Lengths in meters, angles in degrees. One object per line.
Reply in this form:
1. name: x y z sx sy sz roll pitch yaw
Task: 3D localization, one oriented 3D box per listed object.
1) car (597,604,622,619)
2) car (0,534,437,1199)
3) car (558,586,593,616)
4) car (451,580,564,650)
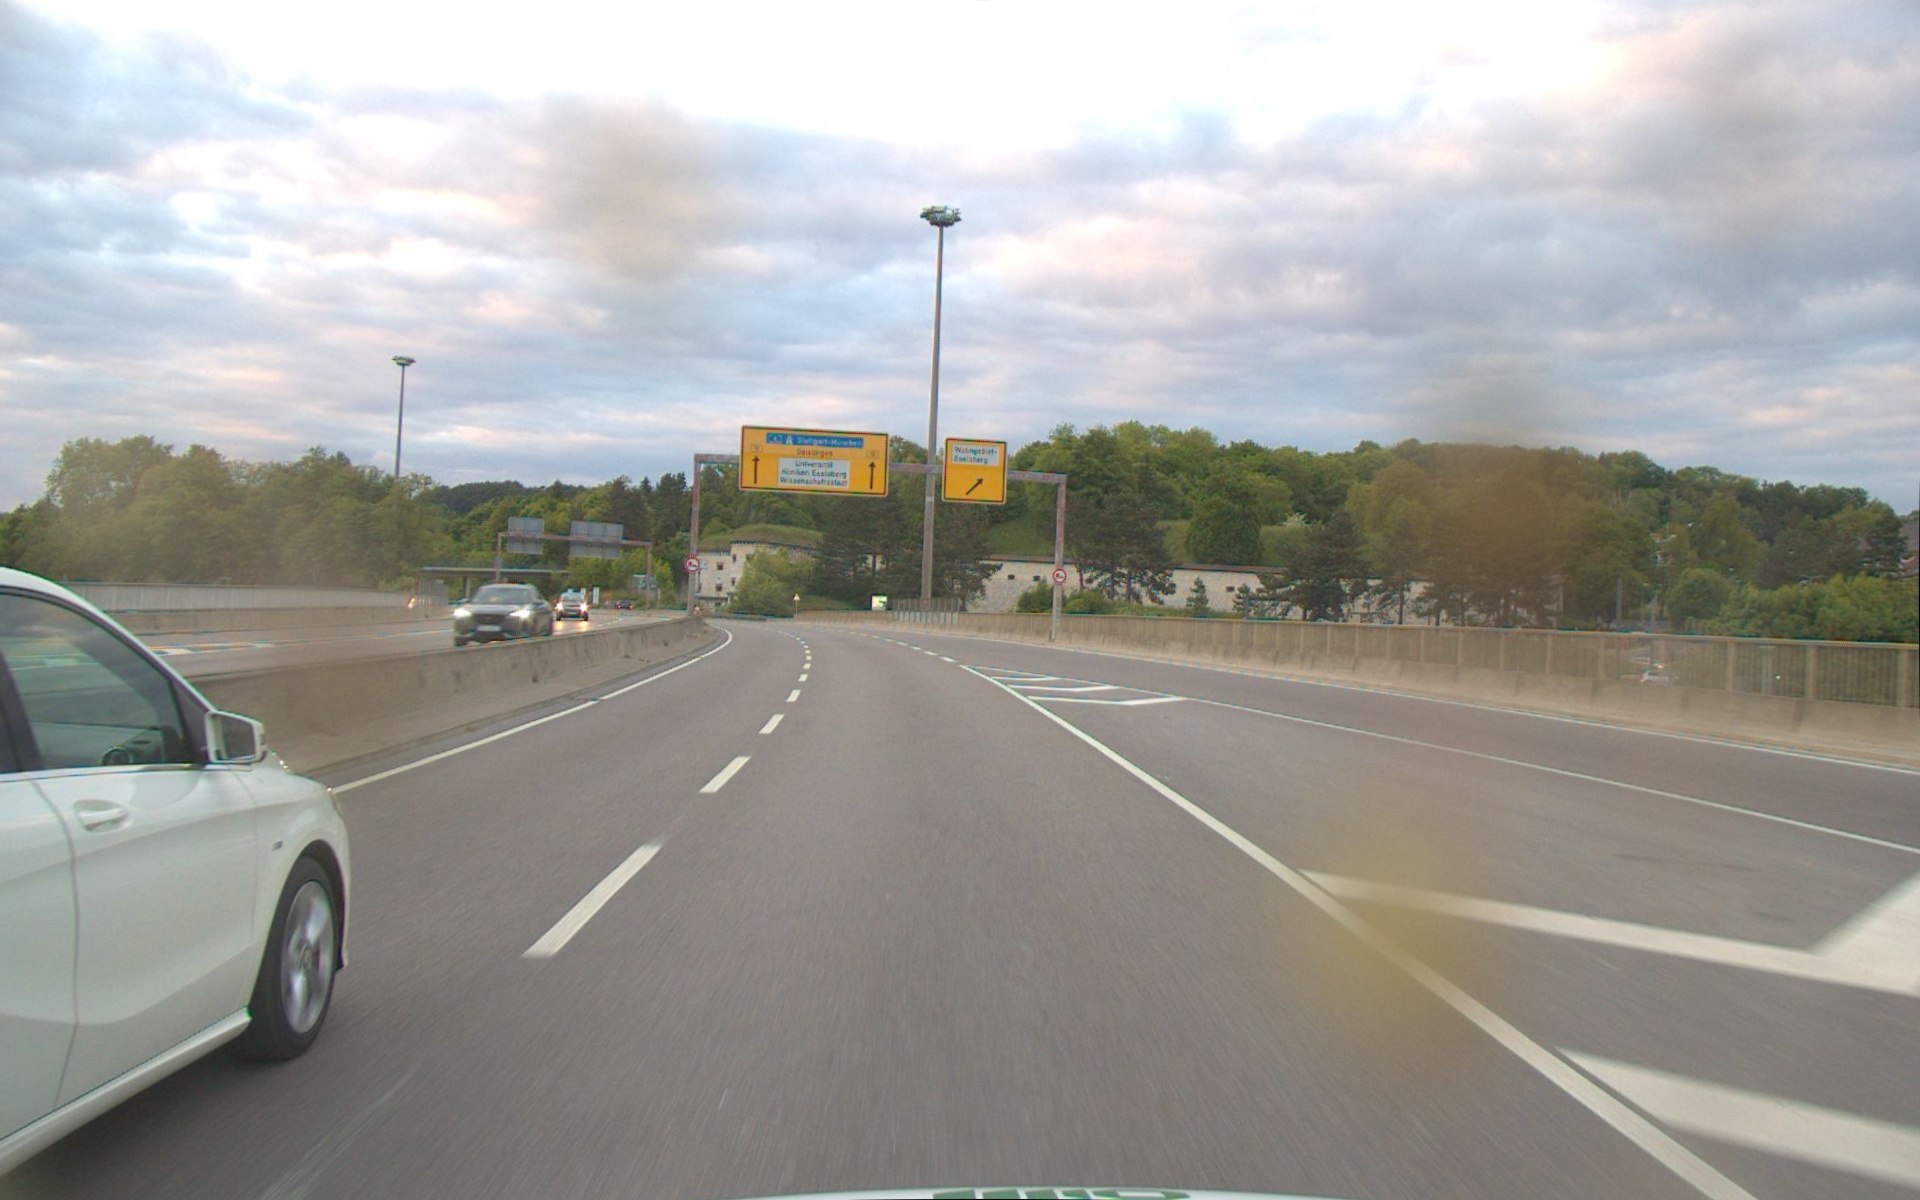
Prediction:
1. car: -44.014 1.464 207.686 1.972 1.870 3.959 3 -2 -30
2. car: -2.806 0.644 4.099 1.657 1.564 4.780 1 -1 -2
3. car: -20.586 0.067 88.621 1.700 1.502 4.211 1 0 -12
4. car: -10.803 0.347 39.812 1.776 1.561 4.541 1 0 -5
